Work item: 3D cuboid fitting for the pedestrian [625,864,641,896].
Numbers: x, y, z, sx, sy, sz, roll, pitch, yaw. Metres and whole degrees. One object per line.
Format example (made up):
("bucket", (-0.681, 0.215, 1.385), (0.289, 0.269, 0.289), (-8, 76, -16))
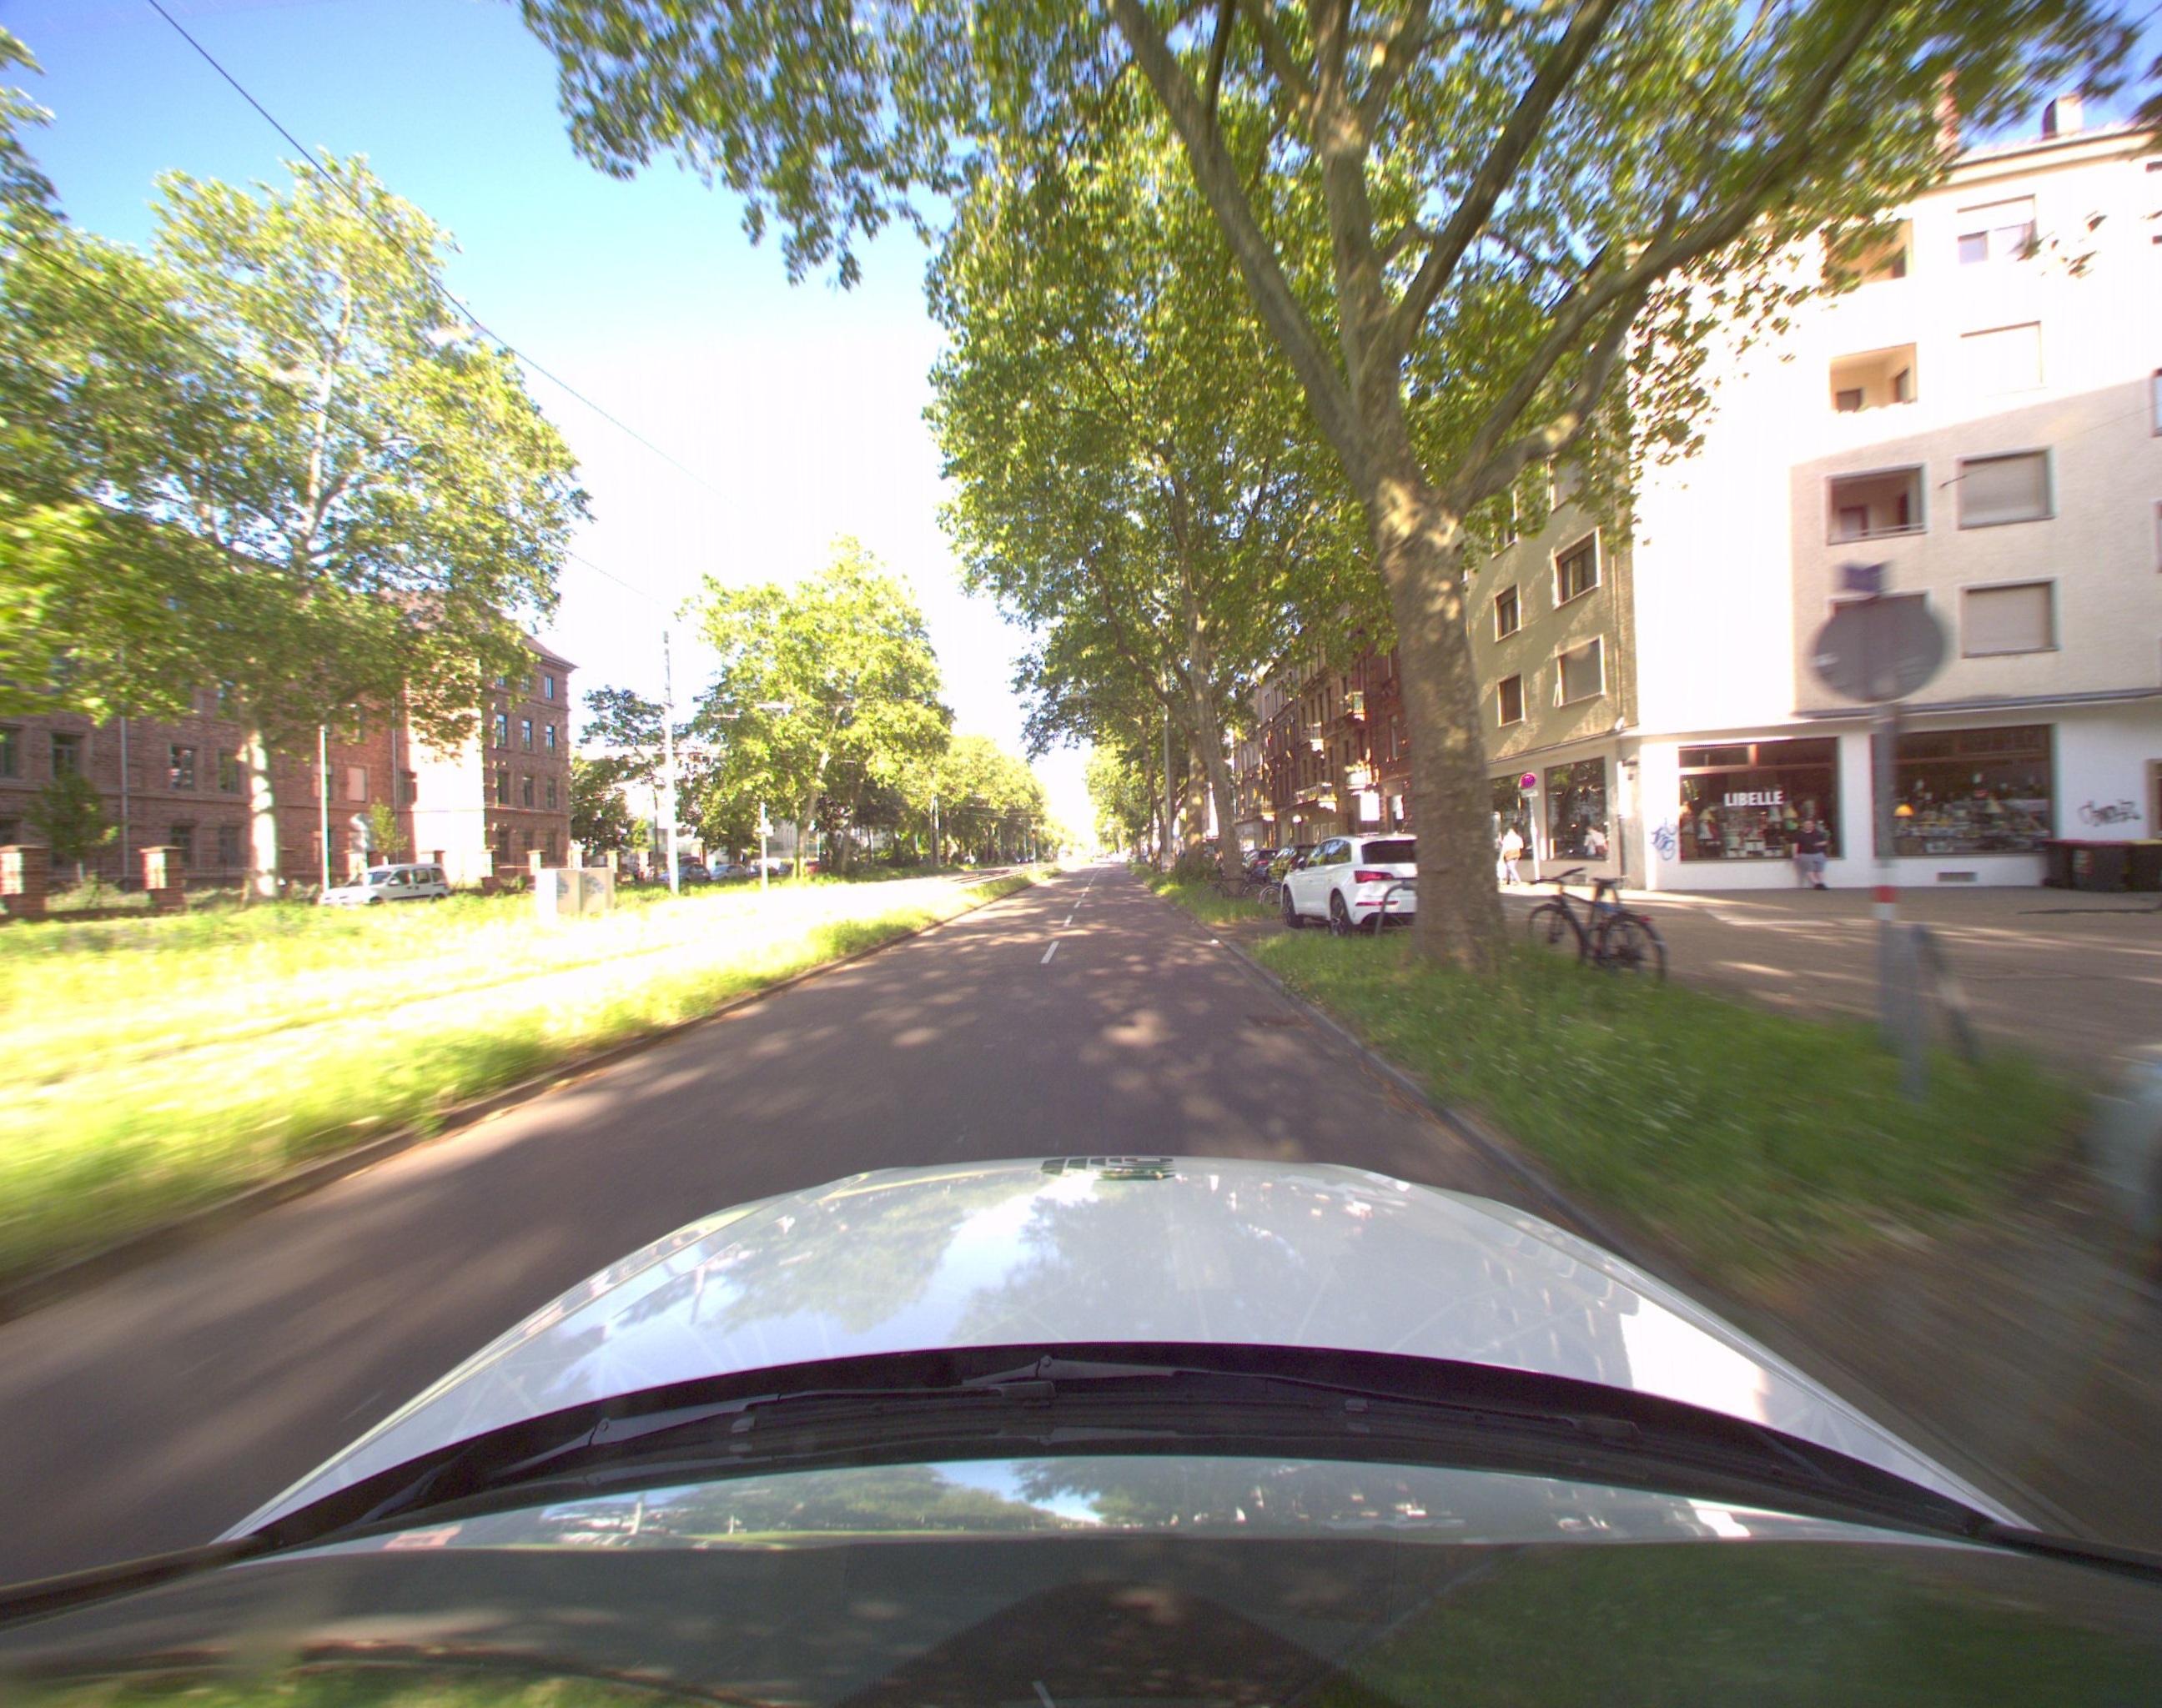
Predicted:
("pedestrian", (-28.449, 1.640, 51.710), (0.583, 2.014, 0.710), (-2, -1, 1))

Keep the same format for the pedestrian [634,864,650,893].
("pedestrian", (-30.947, 1.752, 57.445), (0.712, 2.014, 0.626), (-2, -1, 2))

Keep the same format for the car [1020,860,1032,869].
("car", (-10.900, 2.105, 162.900), (1.788, 1.508, 4.341), (-4, -1, 3))

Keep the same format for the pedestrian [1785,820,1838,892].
("pedestrian", (17.111, 0.051, 19.088), (0.587, 1.650, 0.726), (-2, -1, 12))

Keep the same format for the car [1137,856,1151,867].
("car", (9.152, 1.070, 118.833), (1.678, 1.514, 3.666), (-1, -1, -1))

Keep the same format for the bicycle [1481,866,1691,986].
("bicycle", (4.551, 0.587, 7.564), (0.636, 0.925, 2.165), (-2, 0, 2))

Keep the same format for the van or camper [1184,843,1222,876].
("van or camper", (7.996, 0.373, 53.670), (1.827, 2.098, 4.774), (1, -1, 0))

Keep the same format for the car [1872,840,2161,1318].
("car", (3.978, 0.630, 0.729), (1.747, 1.398, 5.028), (-1, 0, 2))

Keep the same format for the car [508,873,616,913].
("car", (-25.262, 1.831, 39.897), (1.986, 1.649, 4.830), (-2, 0, 2))

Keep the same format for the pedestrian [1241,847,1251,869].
("pedestrian", (13.871, 0.329, 68.634), (0.700, 1.822, 0.612), (-2, -1, 1))

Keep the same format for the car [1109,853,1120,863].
("car", (6.208, 0.734, 150.846), (2.014, 1.662, 4.001), (-1, -1, 1))

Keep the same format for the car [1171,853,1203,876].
("car", (8.202, 0.808, 63.186), (1.884, 1.647, 4.800), (1, -1, 0))

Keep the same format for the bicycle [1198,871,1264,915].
("bicycle", (3.753, 0.979, 20.441), (1.584, 1.058, 0.405), (-2, -1, 8))

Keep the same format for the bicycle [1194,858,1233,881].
("bicycle", (7.735, 0.925, 47.692), (2.156, 1.294, 0.983), (-1, -1, 2))

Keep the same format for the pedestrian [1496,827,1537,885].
("pedestrian", (13.024, 0.062, 24.399), (0.792, 1.704, 0.724), (-2, -1, 2))

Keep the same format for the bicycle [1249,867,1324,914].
("bicycle", (4.497, 0.776, 17.789), (1.773, 0.928, 0.646), (-1, -1, -40))

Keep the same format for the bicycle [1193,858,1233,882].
("bicycle", (7.541, 0.913, 46.545), (2.154, 1.294, 0.984), (-1, -1, 3))

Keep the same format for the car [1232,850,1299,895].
("car", (7.030, 0.651, 31.430), (1.688, 1.507, 4.585), (-2, 0, 3))

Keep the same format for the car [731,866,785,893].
("car", (-24.356, 1.881, 61.616), (2.101, 1.809, 4.738), (-2, 0, 1))

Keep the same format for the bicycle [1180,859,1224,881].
("bicycle", (7.481, 0.991, 50.361), (2.545, 1.294, 0.973), (-1, -1, -5))

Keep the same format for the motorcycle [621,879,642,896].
("motorcycle", (-28.515, 2.101, 51.670), (0.581, 1.053, 1.294), (-2, -1, 2))

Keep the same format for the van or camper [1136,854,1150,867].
("van or camper", (9.477, 0.961, 124.336), (1.832, 1.963, 5.128), (-1, -1, 2))

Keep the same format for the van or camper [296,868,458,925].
("van or camper", (-25.412, 1.470, 29.660), (1.987, 1.788, 4.431), (-2, -1, 0))

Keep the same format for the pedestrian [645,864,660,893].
("pedestrian", (-30.180, 1.732, 57.367), (0.712, 2.014, 0.626), (-2, -1, 2))

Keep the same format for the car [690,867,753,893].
("car", (-24.639, 1.744, 56.044), (1.983, 1.615, 4.427), (-2, 0, 6))

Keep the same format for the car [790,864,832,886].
("car", (-24.083, 1.854, 72.832), (2.102, 1.809, 4.738), (-2, 0, 1))

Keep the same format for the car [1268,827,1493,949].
("car", (4.701, 0.485, 13.668), (1.897, 1.636, 4.822), (-2, 0, -1))

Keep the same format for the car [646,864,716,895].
("car", (-24.754, 1.547, 50.552), (1.759, 1.719, 4.427), (-2, 0, 6))

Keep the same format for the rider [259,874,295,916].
("rider", (-32.199, 1.628, 32.613), (0.725, 1.644, 0.686), (-2, -1, 2))

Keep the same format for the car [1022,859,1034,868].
("car", (-11.930, 2.088, 184.812), (1.985, 1.870, 4.876), (-3, 0, 3))

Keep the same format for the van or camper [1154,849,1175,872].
("van or camper", (9.283, 0.753, 91.349), (2.174, 2.480, 6.275), (0, -1, 4))

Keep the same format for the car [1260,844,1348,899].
("car", (6.868, 0.476, 25.503), (1.689, 1.530, 4.263), (-2, 0, 2))
